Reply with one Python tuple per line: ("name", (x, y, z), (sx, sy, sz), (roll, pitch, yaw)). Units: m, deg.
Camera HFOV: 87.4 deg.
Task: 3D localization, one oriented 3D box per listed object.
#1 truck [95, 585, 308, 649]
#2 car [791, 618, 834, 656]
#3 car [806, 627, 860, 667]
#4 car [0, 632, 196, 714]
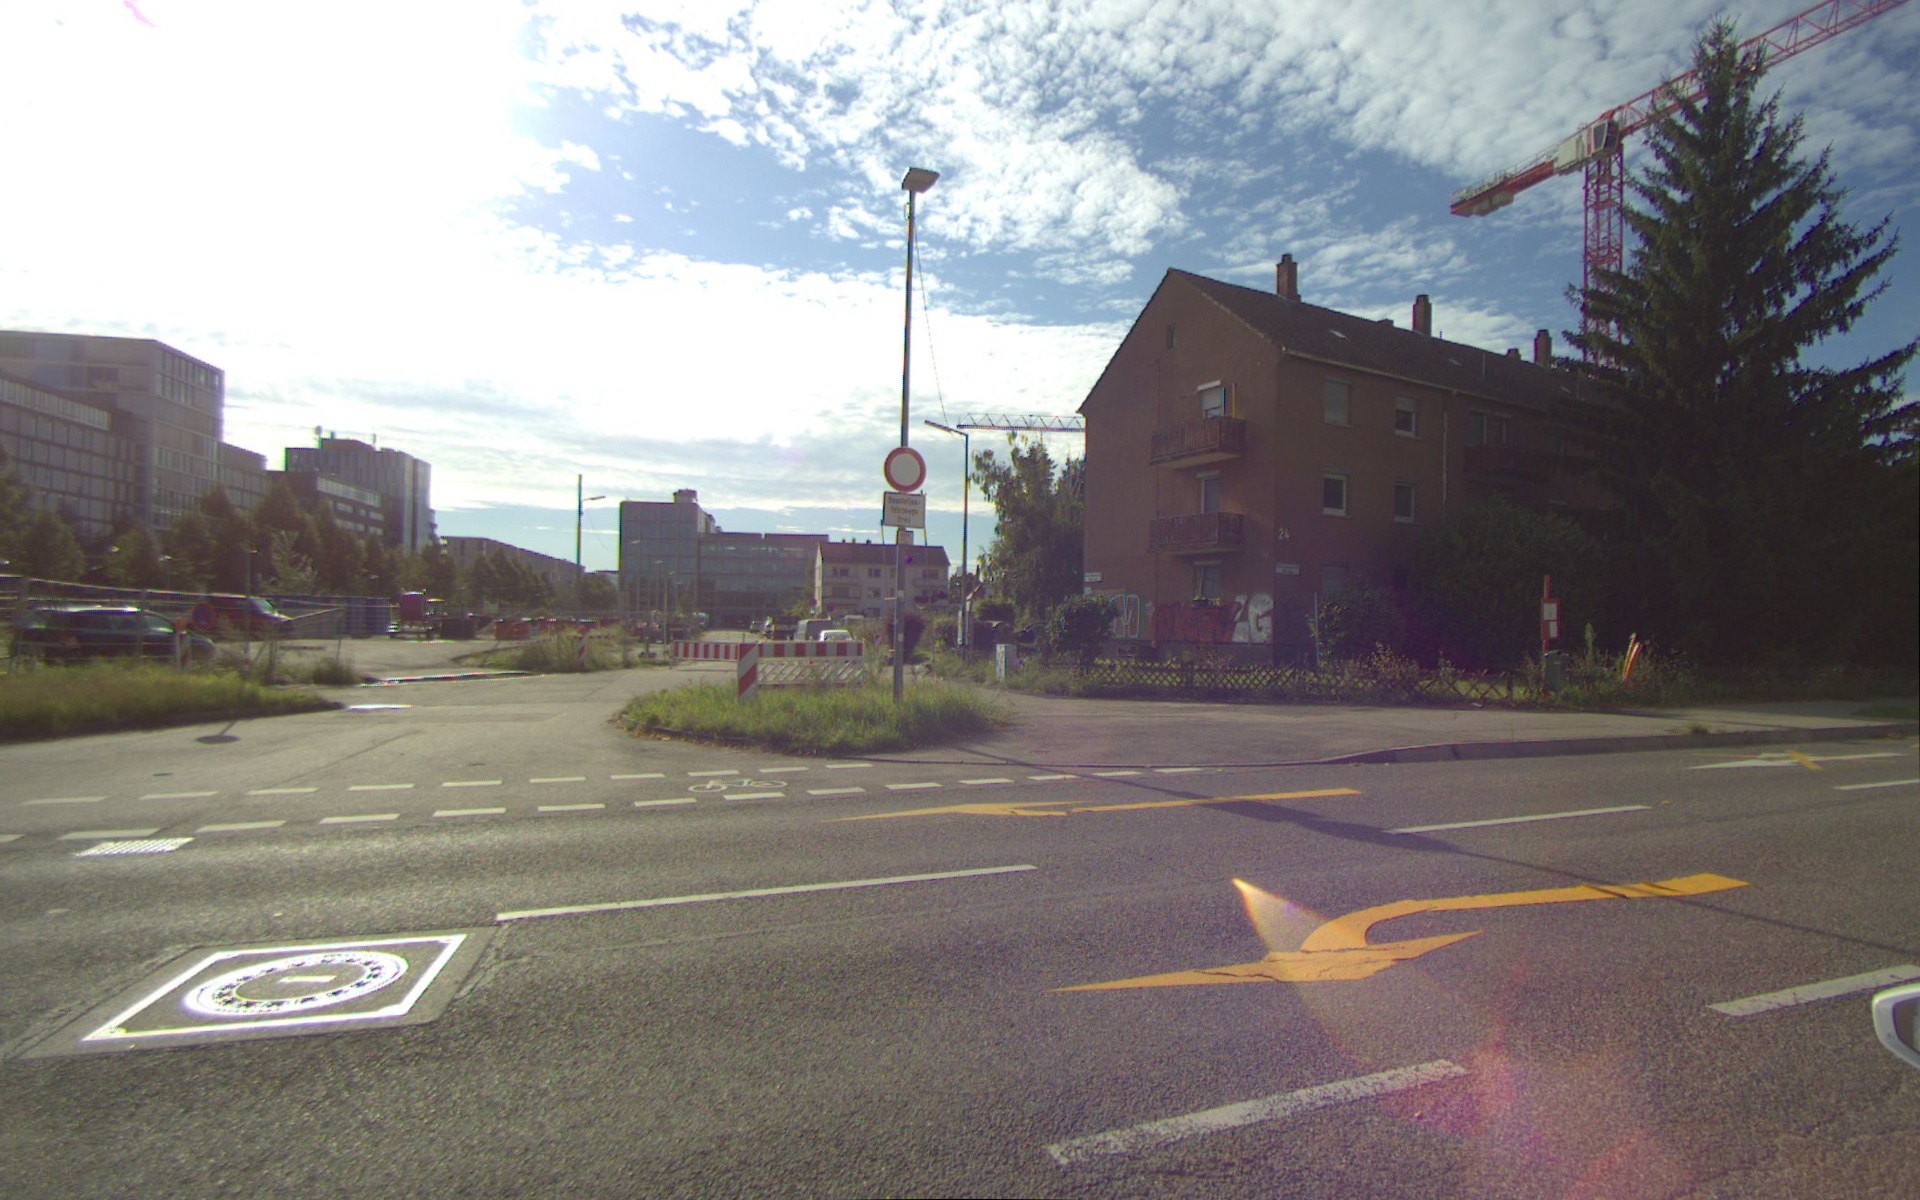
("truck", (-38.878, 0.876, 51.860), (7.972, 2.892, 3.355), (2, -1, -13))
("car", (-8.747, 2.145, 59.310), (1.968, 1.977, 3.985), (0, 2, -17))
("car", (-6.181, 2.226, 48.613), (1.968, 1.576, 3.985), (1, 2, -17))
("car", (-20.898, 1.628, 23.475), (1.962, 1.680, 4.411), (2, -1, 23))
